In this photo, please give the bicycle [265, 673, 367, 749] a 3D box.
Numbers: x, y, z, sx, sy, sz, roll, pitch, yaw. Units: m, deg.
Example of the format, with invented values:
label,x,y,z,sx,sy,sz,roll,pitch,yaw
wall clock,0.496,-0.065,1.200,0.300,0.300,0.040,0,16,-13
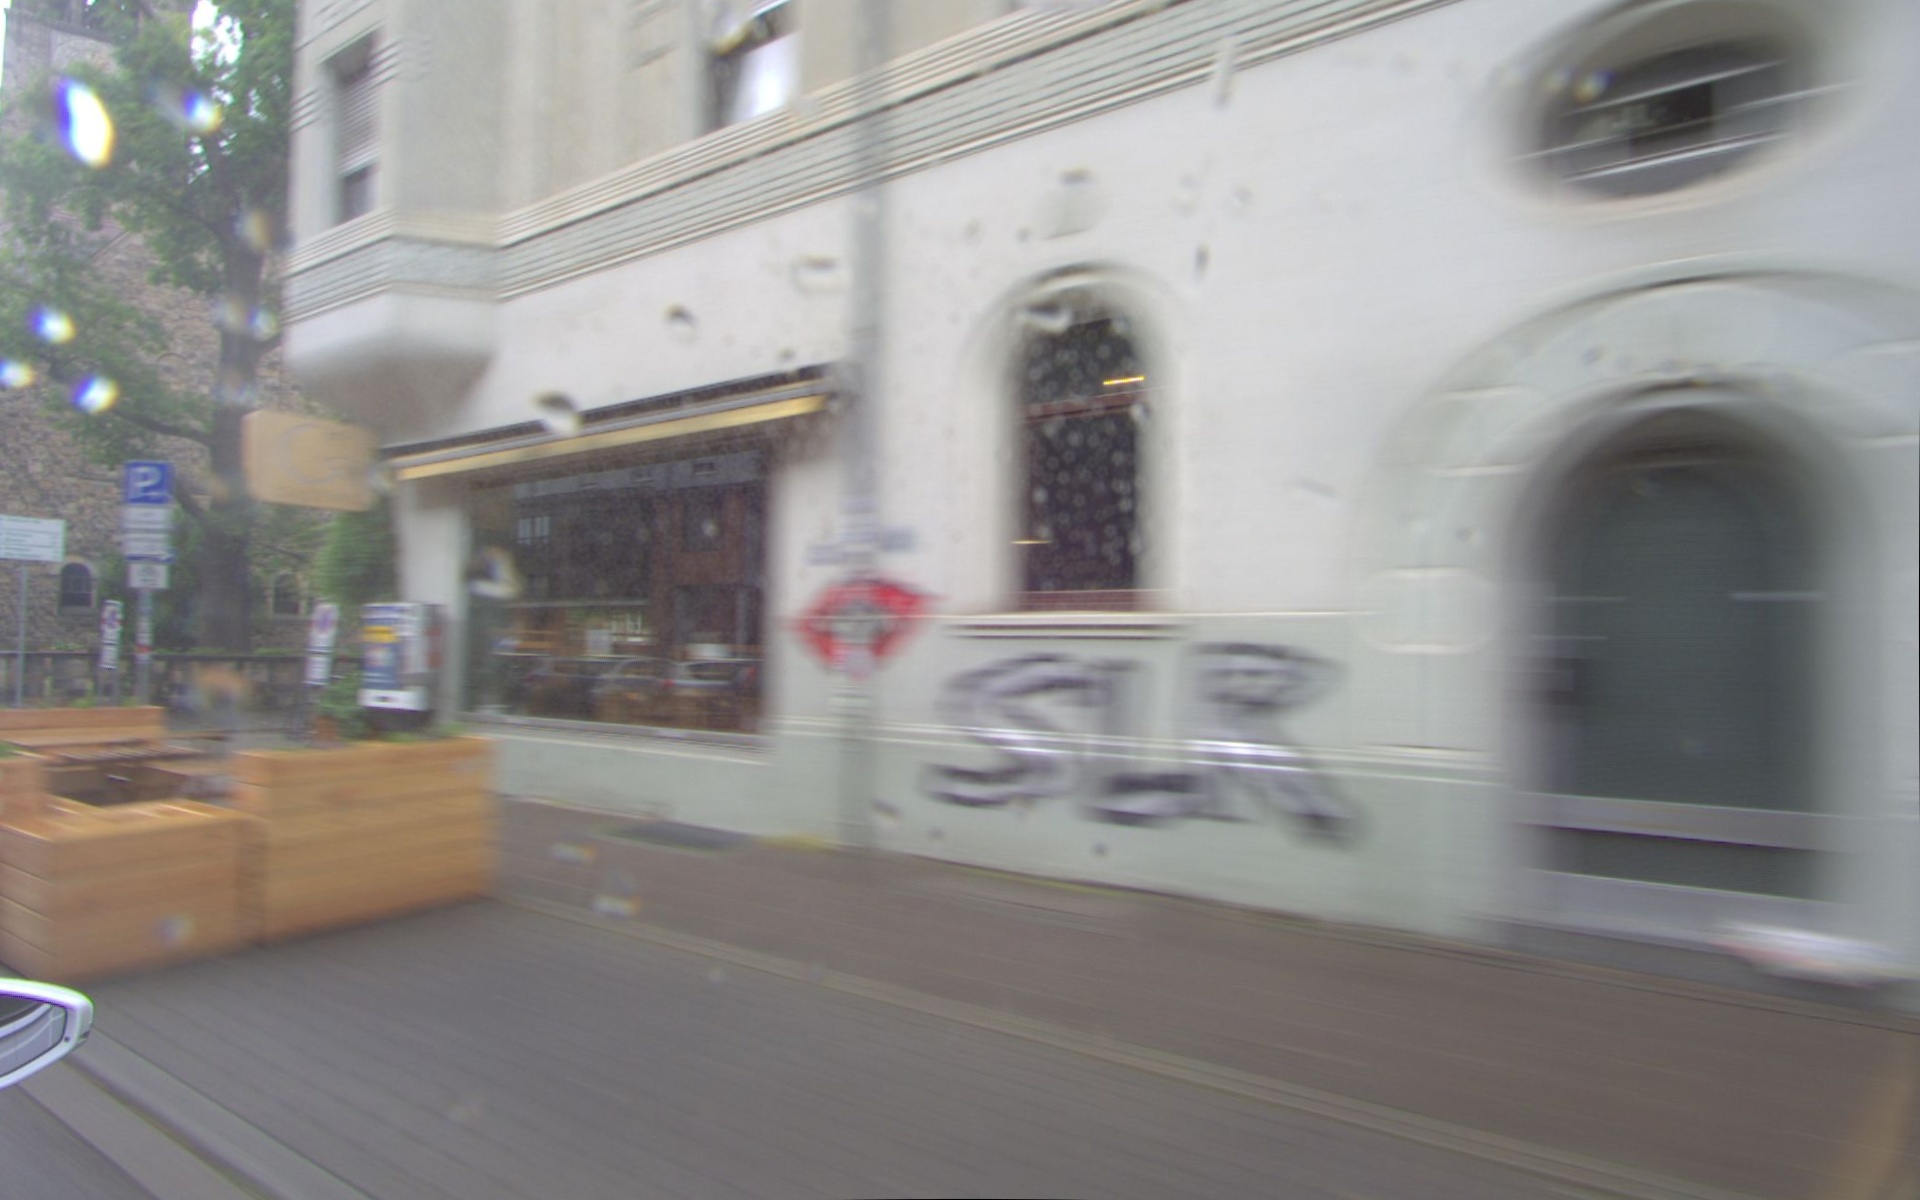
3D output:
label,x,y,z,sx,sy,sz,roll,pitch,yaw
bicycle,-8.972,1.541,13.929,1.895,0.990,0.451,-4,-5,33
